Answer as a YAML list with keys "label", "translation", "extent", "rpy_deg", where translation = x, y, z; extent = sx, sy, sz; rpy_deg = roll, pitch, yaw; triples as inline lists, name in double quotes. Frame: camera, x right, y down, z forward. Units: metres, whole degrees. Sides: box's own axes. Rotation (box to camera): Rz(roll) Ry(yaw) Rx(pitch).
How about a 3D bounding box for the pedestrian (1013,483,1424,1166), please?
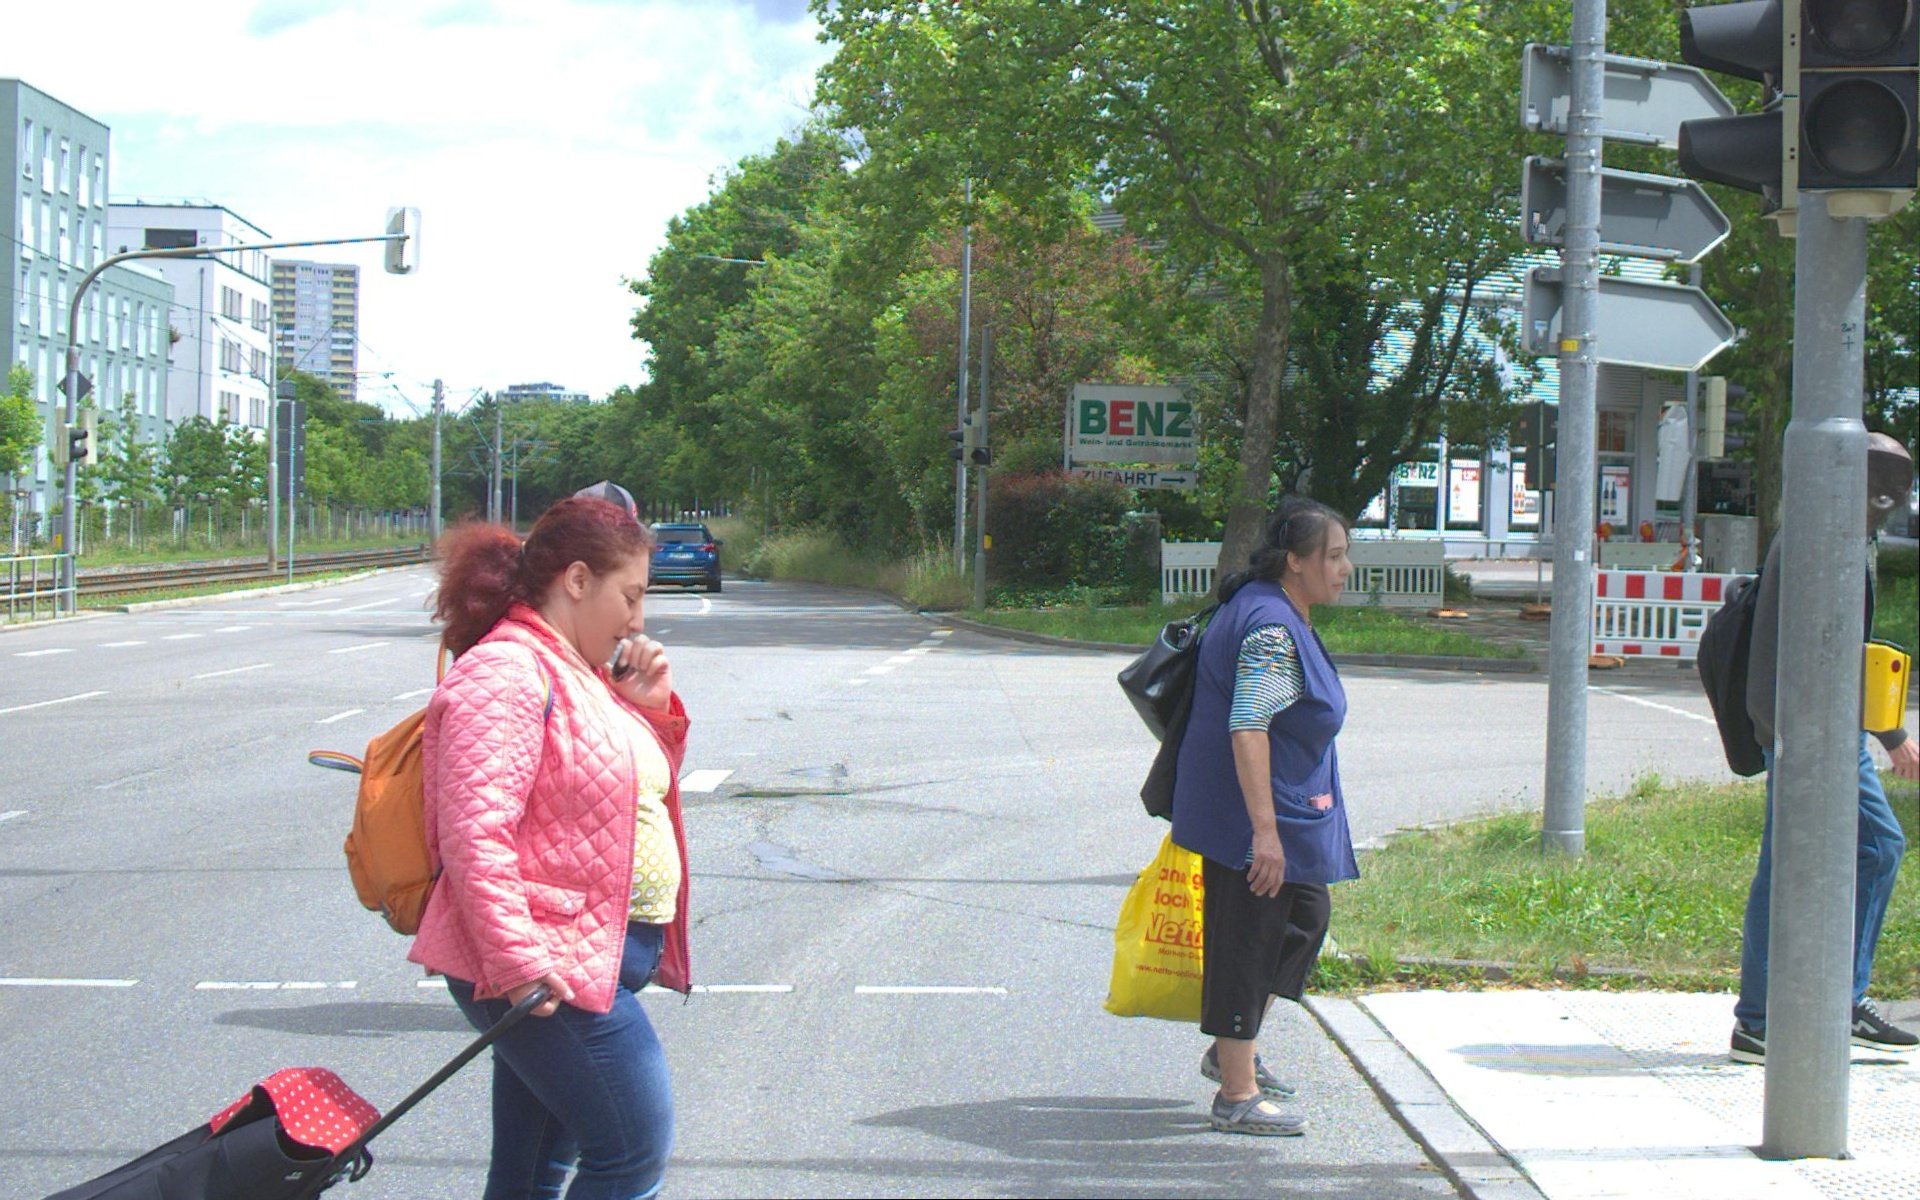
- label: "pedestrian"
  translation: [0.670, 0.517, 8.627]
  extent: [0.913, 1.601, 0.929]
  rpy_deg: [1, 1, 11]

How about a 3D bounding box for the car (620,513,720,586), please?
- label: "car"
  translation: [-6.128, -1.081, 72.220]
  extent: [1.982, 1.481, 4.492]
  rpy_deg: [0, 1, -6]

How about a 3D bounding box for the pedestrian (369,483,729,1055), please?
- label: "pedestrian"
  translation: [-1.183, 0.462, 10.080]
  extent: [0.893, 1.591, 0.908]
  rpy_deg: [1, 1, 3]

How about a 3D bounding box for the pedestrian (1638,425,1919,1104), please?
- label: "pedestrian"
  translation: [2.467, 0.422, 9.434]
  extent: [1.002, 1.767, 0.929]
  rpy_deg: [1, 1, 0]

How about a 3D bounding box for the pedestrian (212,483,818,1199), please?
- label: "pedestrian"
  translation: [-0.691, 0.592, 5.578]
  extent: [0.881, 1.549, 0.746]
  rpy_deg: [1, 1, 0]

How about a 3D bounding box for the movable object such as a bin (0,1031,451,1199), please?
- label: "movable object such as a bin"
  translation: [-1.267, 1.077, 5.479]
  extent: [0.795, 0.659, 0.778]
  rpy_deg: [1, 1, 0]

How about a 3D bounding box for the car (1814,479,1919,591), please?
- label: "car"
  translation: [17.745, -1.183, 62.556]
  extent: [1.993, 2.007, 4.000]
  rpy_deg: [0, 2, -32]
